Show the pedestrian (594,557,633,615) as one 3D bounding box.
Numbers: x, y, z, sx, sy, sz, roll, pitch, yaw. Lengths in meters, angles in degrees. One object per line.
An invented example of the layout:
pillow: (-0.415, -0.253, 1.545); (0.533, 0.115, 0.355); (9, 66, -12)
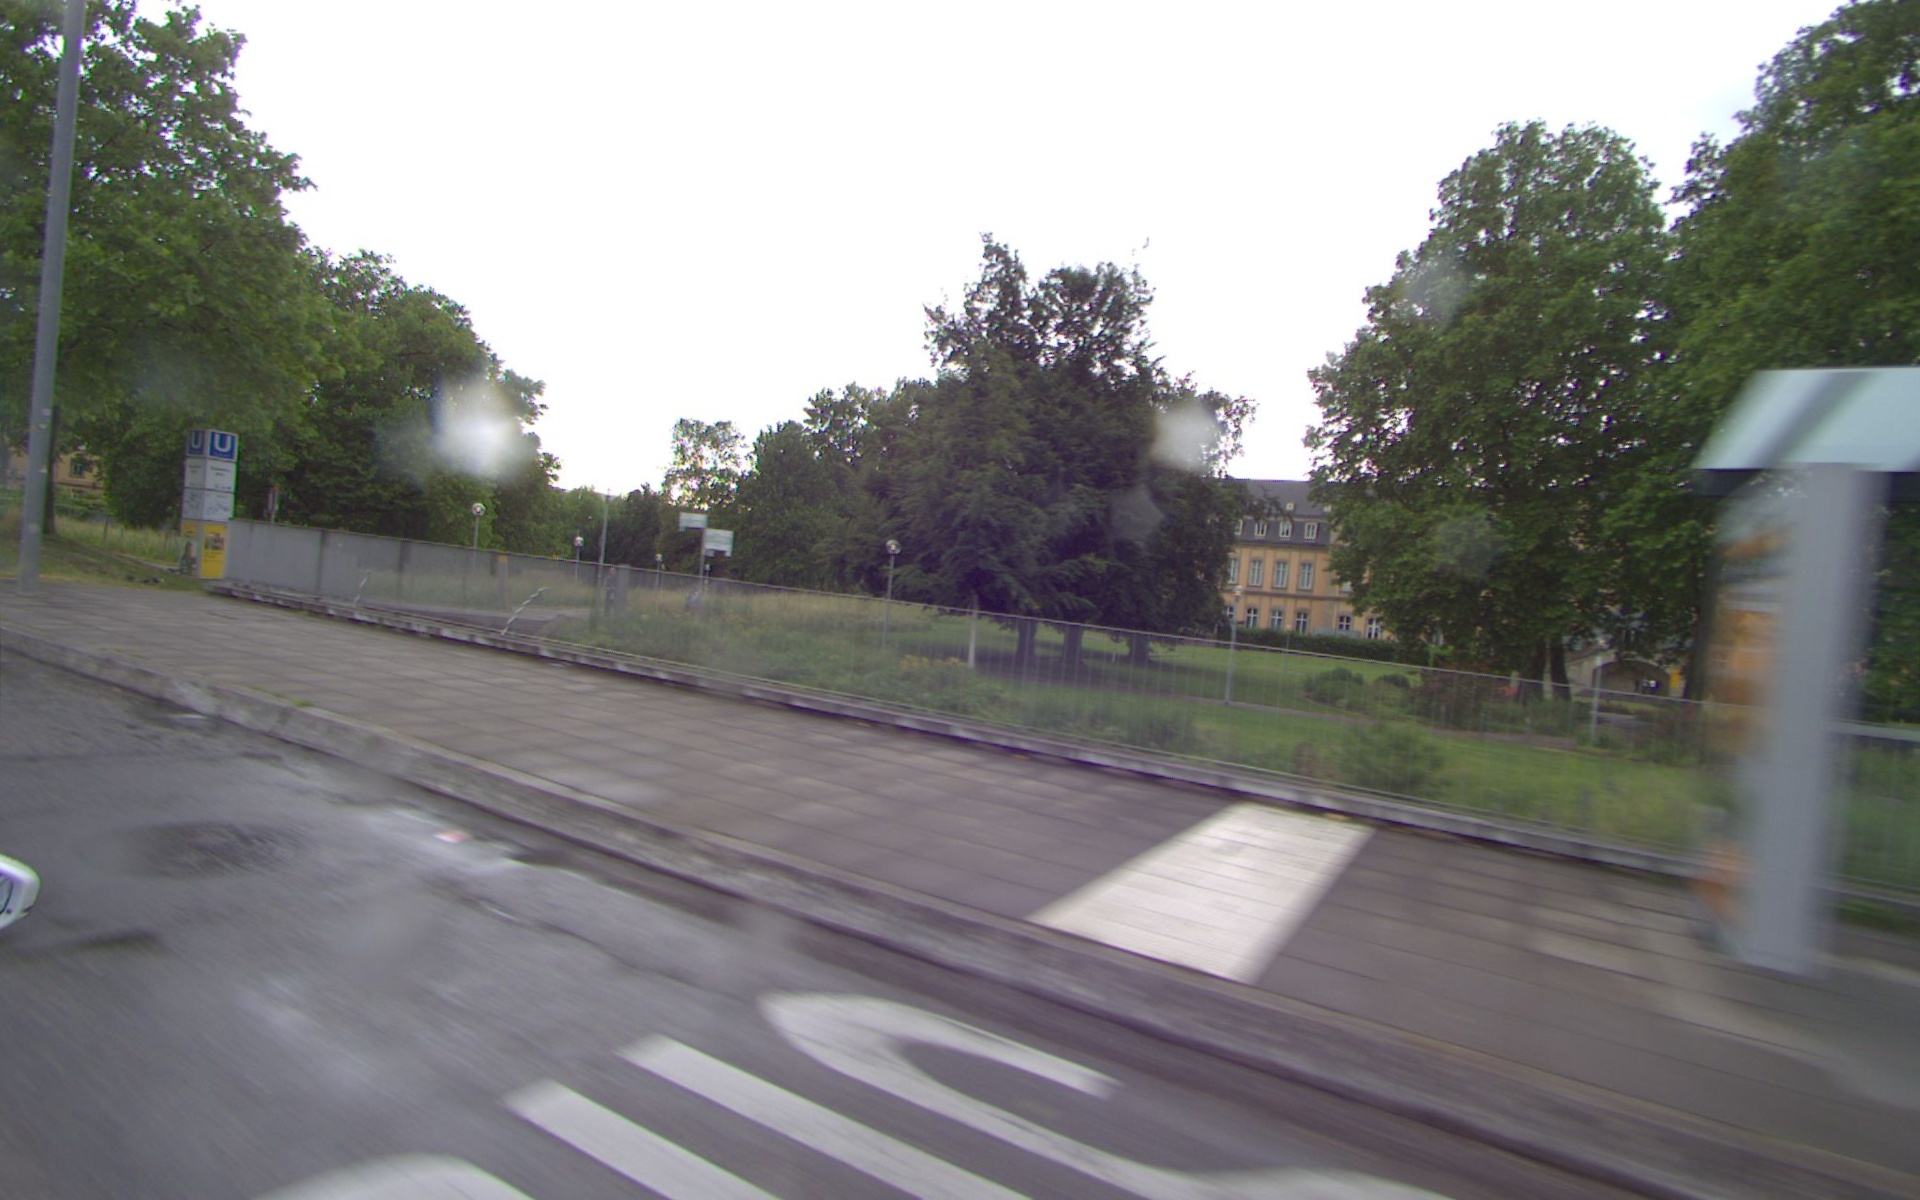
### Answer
pedestrian: (-10.622, -0.407, 30.841); (0.817, 1.661, 0.727); (6, -1, -6)

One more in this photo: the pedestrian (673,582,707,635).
pedestrian: (-9.338, 0.290, 34.809); (0.640, 1.712, 0.770); (6, -1, 39)
